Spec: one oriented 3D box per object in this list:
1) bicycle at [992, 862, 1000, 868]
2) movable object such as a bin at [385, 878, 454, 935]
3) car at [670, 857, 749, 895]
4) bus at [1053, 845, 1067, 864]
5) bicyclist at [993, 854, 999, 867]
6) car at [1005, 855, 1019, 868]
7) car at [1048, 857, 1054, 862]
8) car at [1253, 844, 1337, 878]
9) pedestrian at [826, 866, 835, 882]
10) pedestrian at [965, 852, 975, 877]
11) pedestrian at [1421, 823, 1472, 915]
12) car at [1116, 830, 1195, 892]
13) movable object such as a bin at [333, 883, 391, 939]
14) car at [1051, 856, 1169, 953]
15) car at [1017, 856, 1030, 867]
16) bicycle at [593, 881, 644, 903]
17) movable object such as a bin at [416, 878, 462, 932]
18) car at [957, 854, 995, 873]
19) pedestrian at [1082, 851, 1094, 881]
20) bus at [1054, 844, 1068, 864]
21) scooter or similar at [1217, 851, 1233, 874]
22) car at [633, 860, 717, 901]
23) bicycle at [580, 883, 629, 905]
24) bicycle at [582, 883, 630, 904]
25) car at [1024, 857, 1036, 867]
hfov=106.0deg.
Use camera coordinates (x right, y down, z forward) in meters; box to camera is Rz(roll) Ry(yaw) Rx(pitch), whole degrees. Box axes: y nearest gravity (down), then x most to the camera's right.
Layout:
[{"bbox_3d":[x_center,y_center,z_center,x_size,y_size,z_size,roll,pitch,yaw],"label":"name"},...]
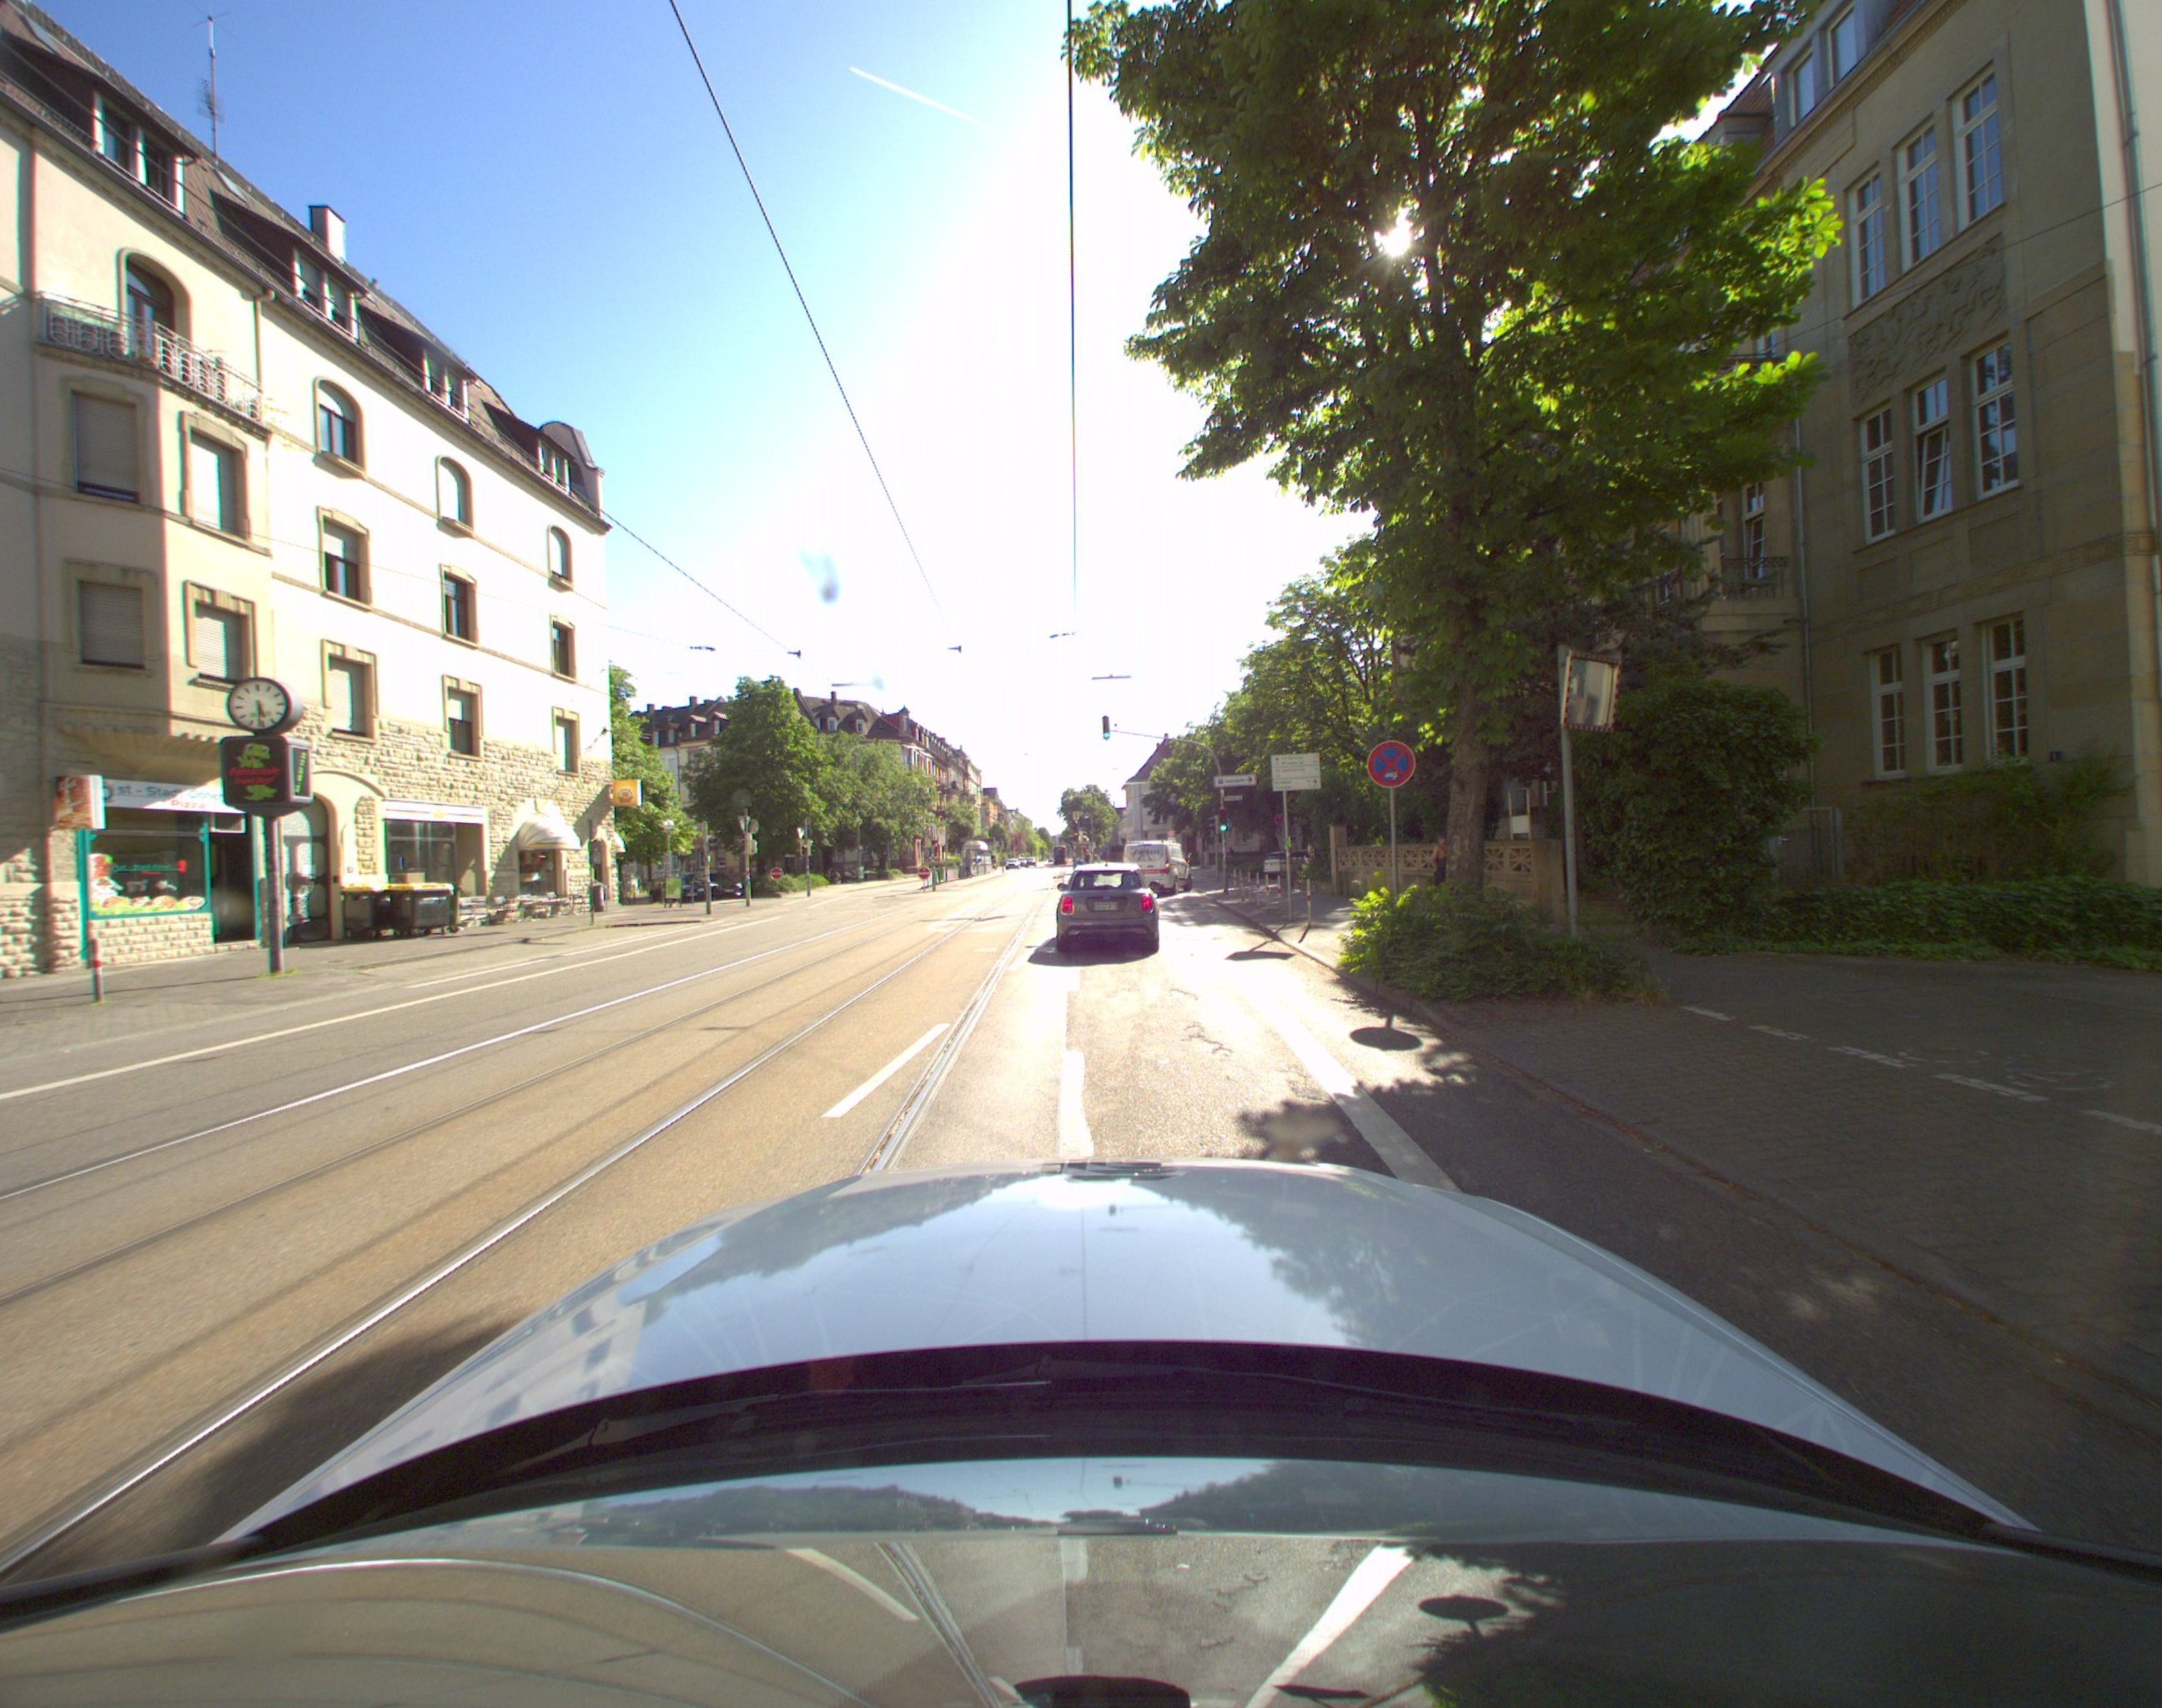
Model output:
[{"bbox_3d":[-11.375,1.514,108.839,0.716,0.750,1.918,-1,-1,3],"label":"bicycle"},{"bbox_3d":[-16.862,1.335,20.774,0.849,1.381,1.031,-1,-1,12],"label":"movable object such as a bin"},{"bbox_3d":[-20.510,1.212,44.973,3.949,2.014,2.012,-2,-1,29],"label":"car"},{"bbox_3d":[-4.117,0.168,159.238,2.380,3.496,7.375,-1,-1,-3],"label":"bus"},{"bbox_3d":[-11.394,0.833,108.816,0.710,1.665,0.735,-1,-1,3],"label":"bicyclist"},{"bbox_3d":[-9.493,1.050,112.169,1.771,1.618,3.996,-1,-1,-2],"label":"car"},{"bbox_3d":[-8.985,1.648,243.581,1.989,1.596,3.996,-1,-1,-2],"label":"car"},{"bbox_3d":[11.020,0.353,41.885,4.016,1.618,1.979,-1,-1,-34],"label":"car"},{"bbox_3d":[-18.525,1.471,60.182,0.579,1.201,0.604,-3,0,-19],"label":"pedestrian"},{"bbox_3d":[-8.232,0.758,60.144,0.579,1.795,0.604,-2,0,-16],"label":"pedestrian"},{"bbox_3d":[6.941,0.282,15.489,0.590,1.671,0.647,-4,-1,1],"label":"pedestrian"},{"bbox_3d":[3.034,0.271,31.962,2.102,2.208,4.965,-1,-1,16],"label":"car"},{"bbox_3d":[-17.583,1.383,19.922,0.849,1.325,0.659,-1,-1,12],"label":"movable object such as a bin"},{"bbox_3d":[0.497,0.811,14.752,1.809,1.488,4.001,-1,-1,1],"label":"car"},{"bbox_3d":[-8.605,1.126,122.270,1.771,1.618,3.996,-1,-1,-2],"label":"car"},{"bbox_3d":[-22.486,1.858,39.636,0.602,0.980,2.051,-2,-1,38],"label":"bicycle"},{"bbox_3d":[-17.215,1.343,21.829,0.862,1.381,1.015,0,-1,-45],"label":"movable object such as a bin"},{"bbox_3d":[-11.814,1.080,92.351,1.976,2.014,5.056,-2,-1,22],"label":"car"},{"bbox_3d":[0.503,0.840,56.022,0.793,2.014,0.740,-1,-1,-1],"label":"pedestrian"},{"bbox_3d":[-3.741,0.064,151.837,2.380,3.496,7.375,-1,-1,-3],"label":"bus"},{"bbox_3d":[8.281,0.482,46.754,0.674,1.310,1.329,-1,-1,0],"label":"scooter or similar"},{"bbox_3d":[-21.334,1.381,42.790,3.949,2.014,2.012,-2,-1,29],"label":"car"},{"bbox_3d":[-23.724,1.972,40.587,0.602,0.980,2.051,-2,-1,38],"label":"bicycle"},{"bbox_3d":[-24.113,1.985,41.369,0.602,0.980,2.051,-2,-1,38],"label":"bicycle"},{"bbox_3d":[-8.495,1.291,135.194,1.771,1.618,3.996,-1,-1,-2],"label":"car"}]
